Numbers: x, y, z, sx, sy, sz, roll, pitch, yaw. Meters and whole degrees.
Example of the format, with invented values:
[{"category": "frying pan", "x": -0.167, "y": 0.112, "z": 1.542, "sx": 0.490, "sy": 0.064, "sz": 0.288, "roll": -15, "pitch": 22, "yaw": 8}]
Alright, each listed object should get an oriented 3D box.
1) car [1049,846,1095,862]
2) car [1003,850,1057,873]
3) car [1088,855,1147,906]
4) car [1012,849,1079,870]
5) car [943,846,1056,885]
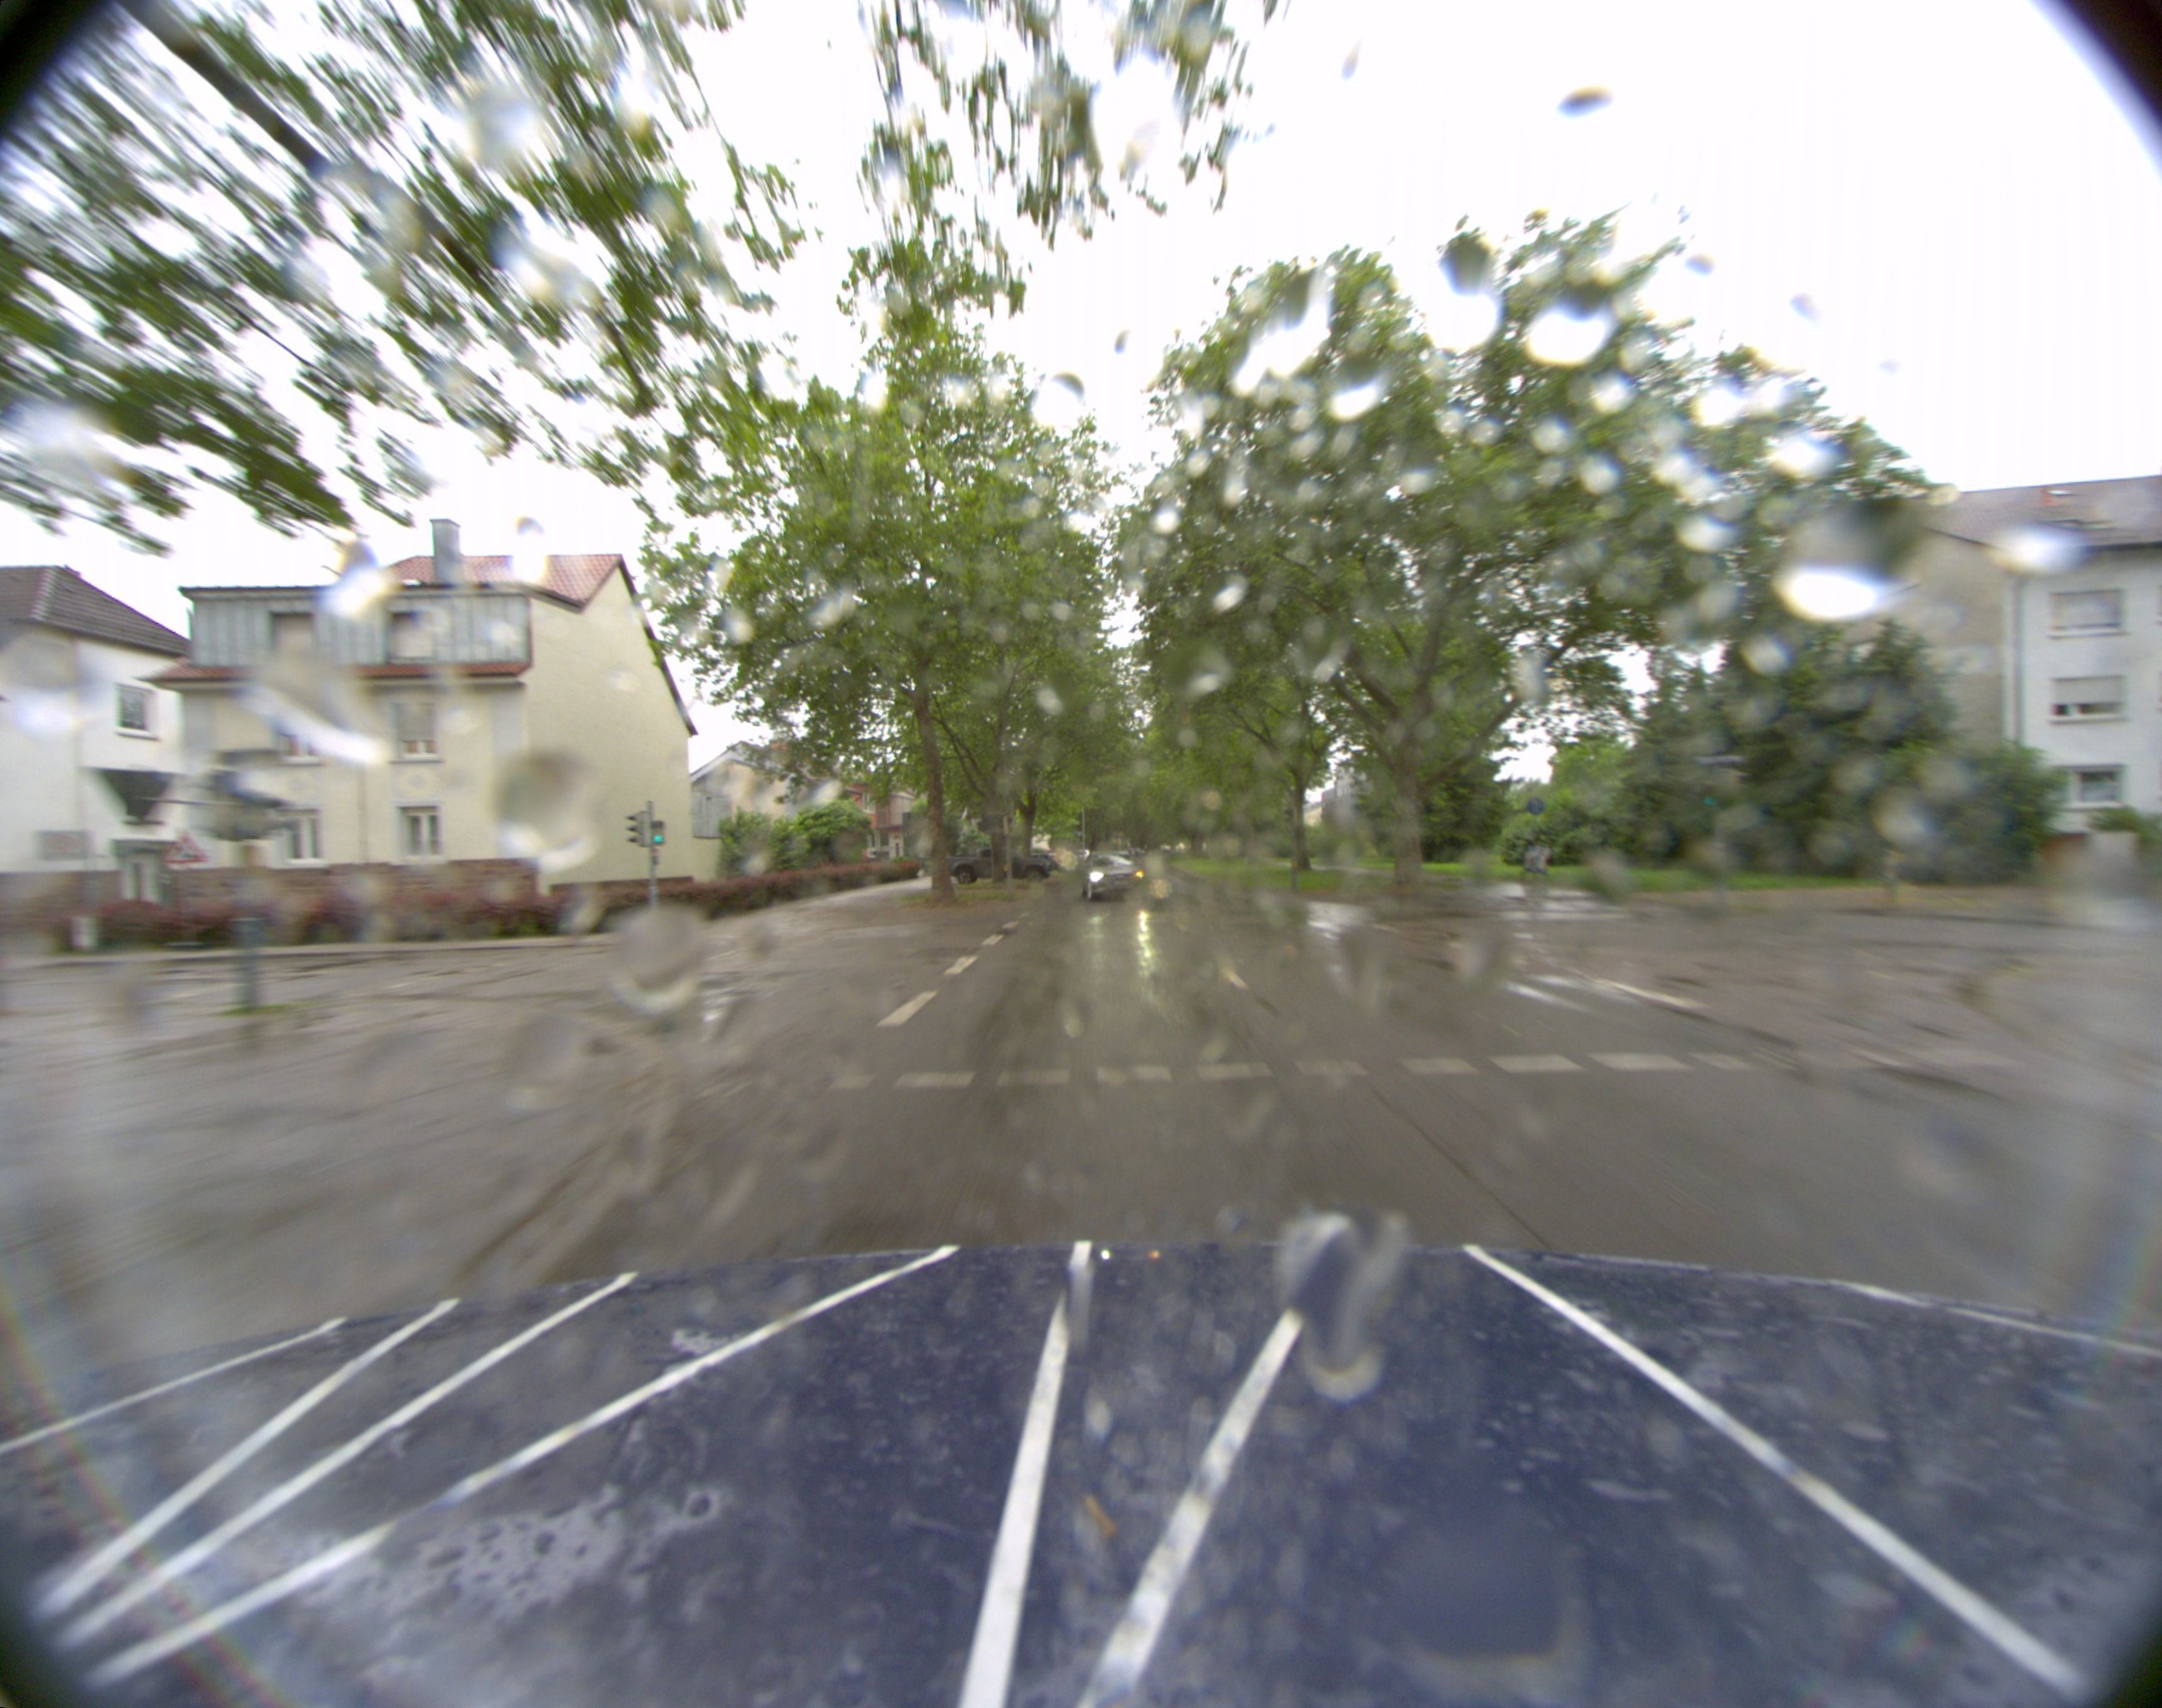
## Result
[{"category": "car", "x": -0.900, "y": -0.010, "z": 79.725, "sx": 4.699, "sy": 1.651, "sz": 1.976, "roll": -1, "pitch": 0, "yaw": 3}, {"category": "car", "x": -3.361, "y": 0.486, "z": 50.427, "sx": 3.363, "sy": 1.455, "sz": 1.619, "roll": -1, "pitch": 0, "yaw": 3}, {"category": "car", "x": 1.211, "y": 0.843, "z": 26.299, "sx": 1.862, "sy": 1.608, "sz": 4.424, "roll": -1, "pitch": 0, "yaw": 1}, {"category": "car", "x": -2.543, "y": 0.381, "z": 55.643, "sx": 4.778, "sy": 1.464, "sz": 1.937, "roll": 0, "pitch": 0, "yaw": 0}, {"category": "car", "x": -3.921, "y": 0.543, "z": 37.156, "sx": 5.353, "sy": 1.796, "sz": 1.845, "roll": 0, "pitch": 0, "yaw": -2}]
